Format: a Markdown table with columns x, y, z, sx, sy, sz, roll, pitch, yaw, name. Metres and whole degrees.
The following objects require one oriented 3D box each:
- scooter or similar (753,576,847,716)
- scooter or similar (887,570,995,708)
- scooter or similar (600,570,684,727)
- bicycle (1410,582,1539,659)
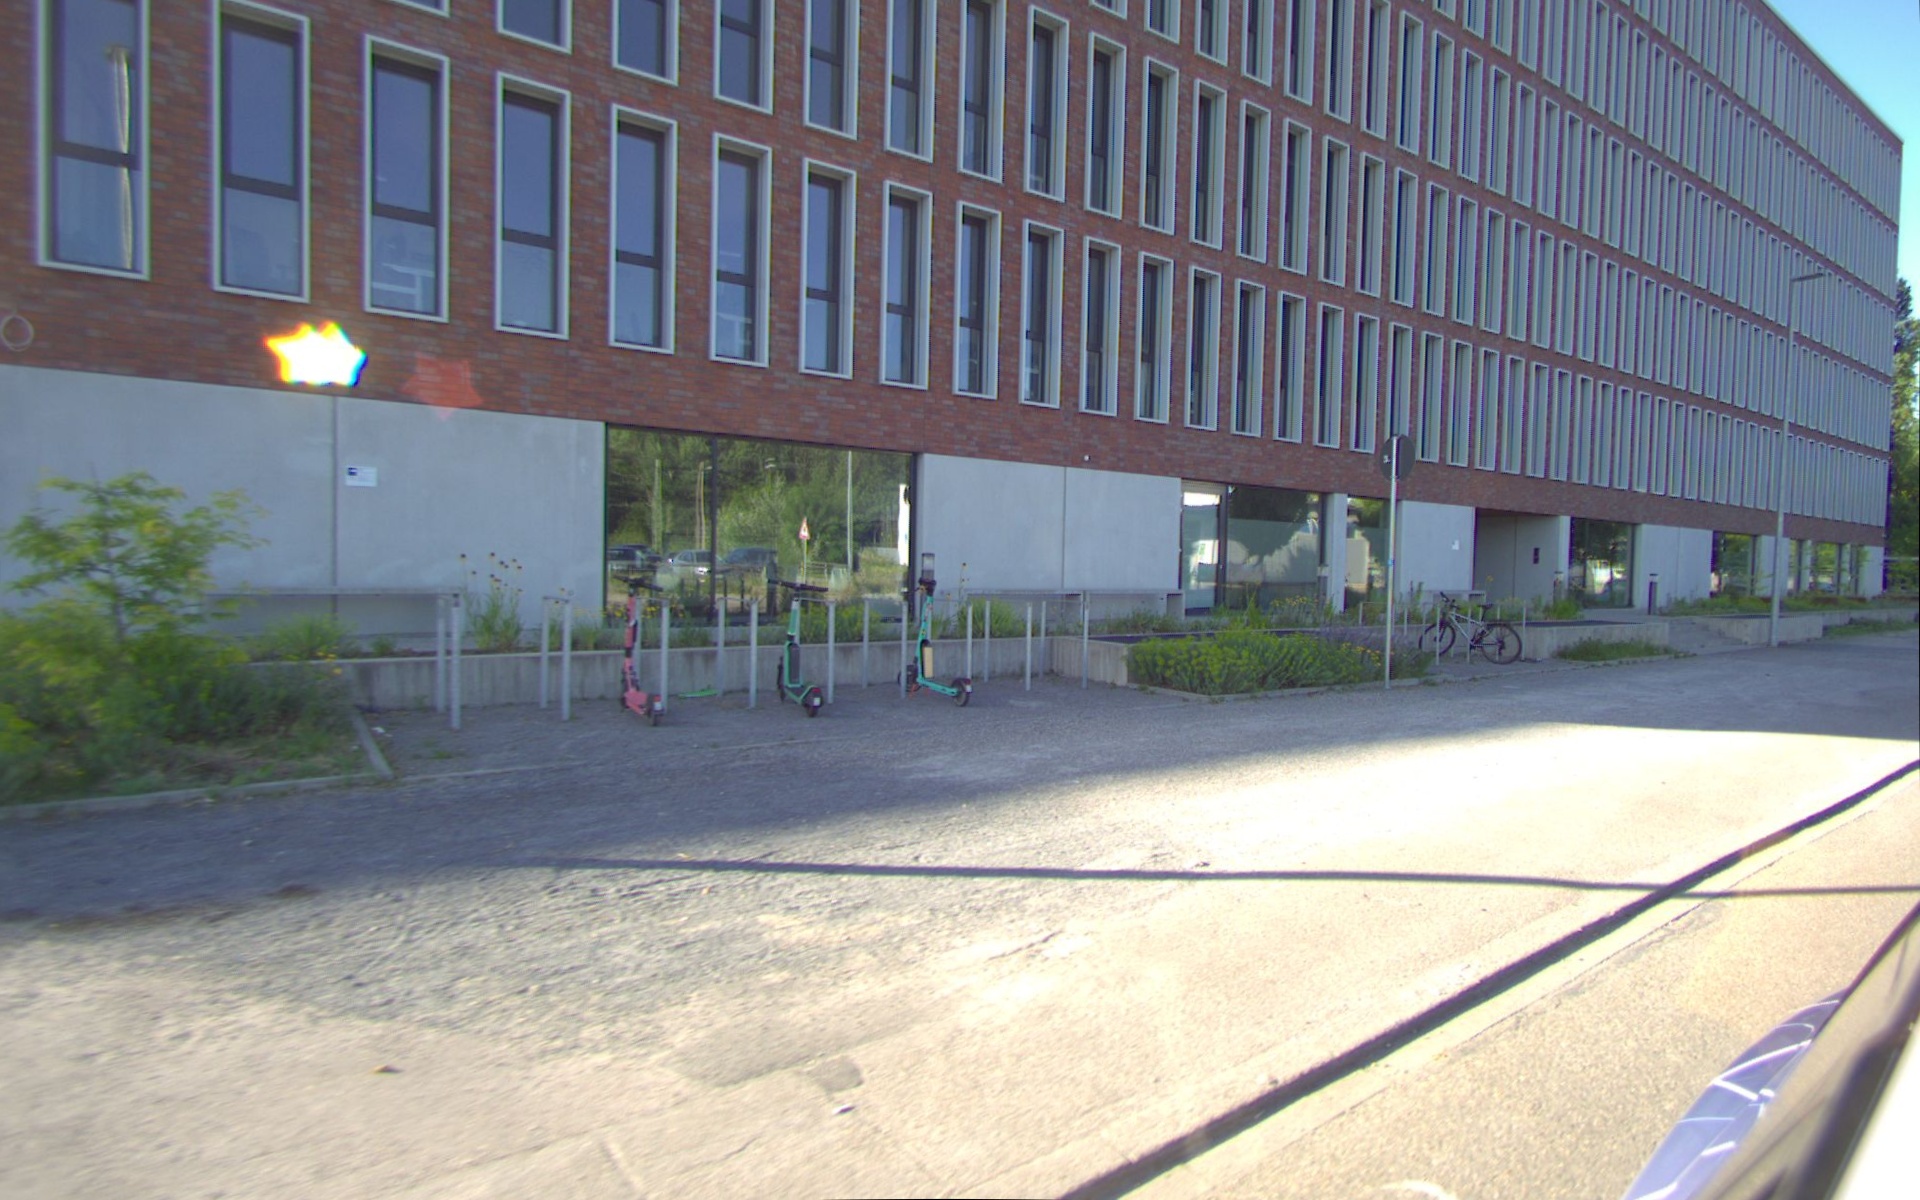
| x | y | z | sx | sy | sz | roll | pitch | yaw | name |
| --- | --- | --- | --- | --- | --- | --- | --- | --- | --- |
| -1.489 | 0.383 | 9.304 | 0.359 | 1.170 | 1.248 | 1 | 2 | -33 | scooter or similar |
| -0.216 | 0.350 | 10.145 | 0.415 | 1.260 | 1.346 | 1 | 2 | -33 | scooter or similar |
| -2.698 | 0.365 | 8.526 | 0.333 | 1.209 | 1.248 | 1 | 2 | -33 | scooter or similar |
| 8.811 | 0.327 | 17.415 | 0.369 | 1.184 | 1.934 | 0 | 3 | -43 | bicycle |
